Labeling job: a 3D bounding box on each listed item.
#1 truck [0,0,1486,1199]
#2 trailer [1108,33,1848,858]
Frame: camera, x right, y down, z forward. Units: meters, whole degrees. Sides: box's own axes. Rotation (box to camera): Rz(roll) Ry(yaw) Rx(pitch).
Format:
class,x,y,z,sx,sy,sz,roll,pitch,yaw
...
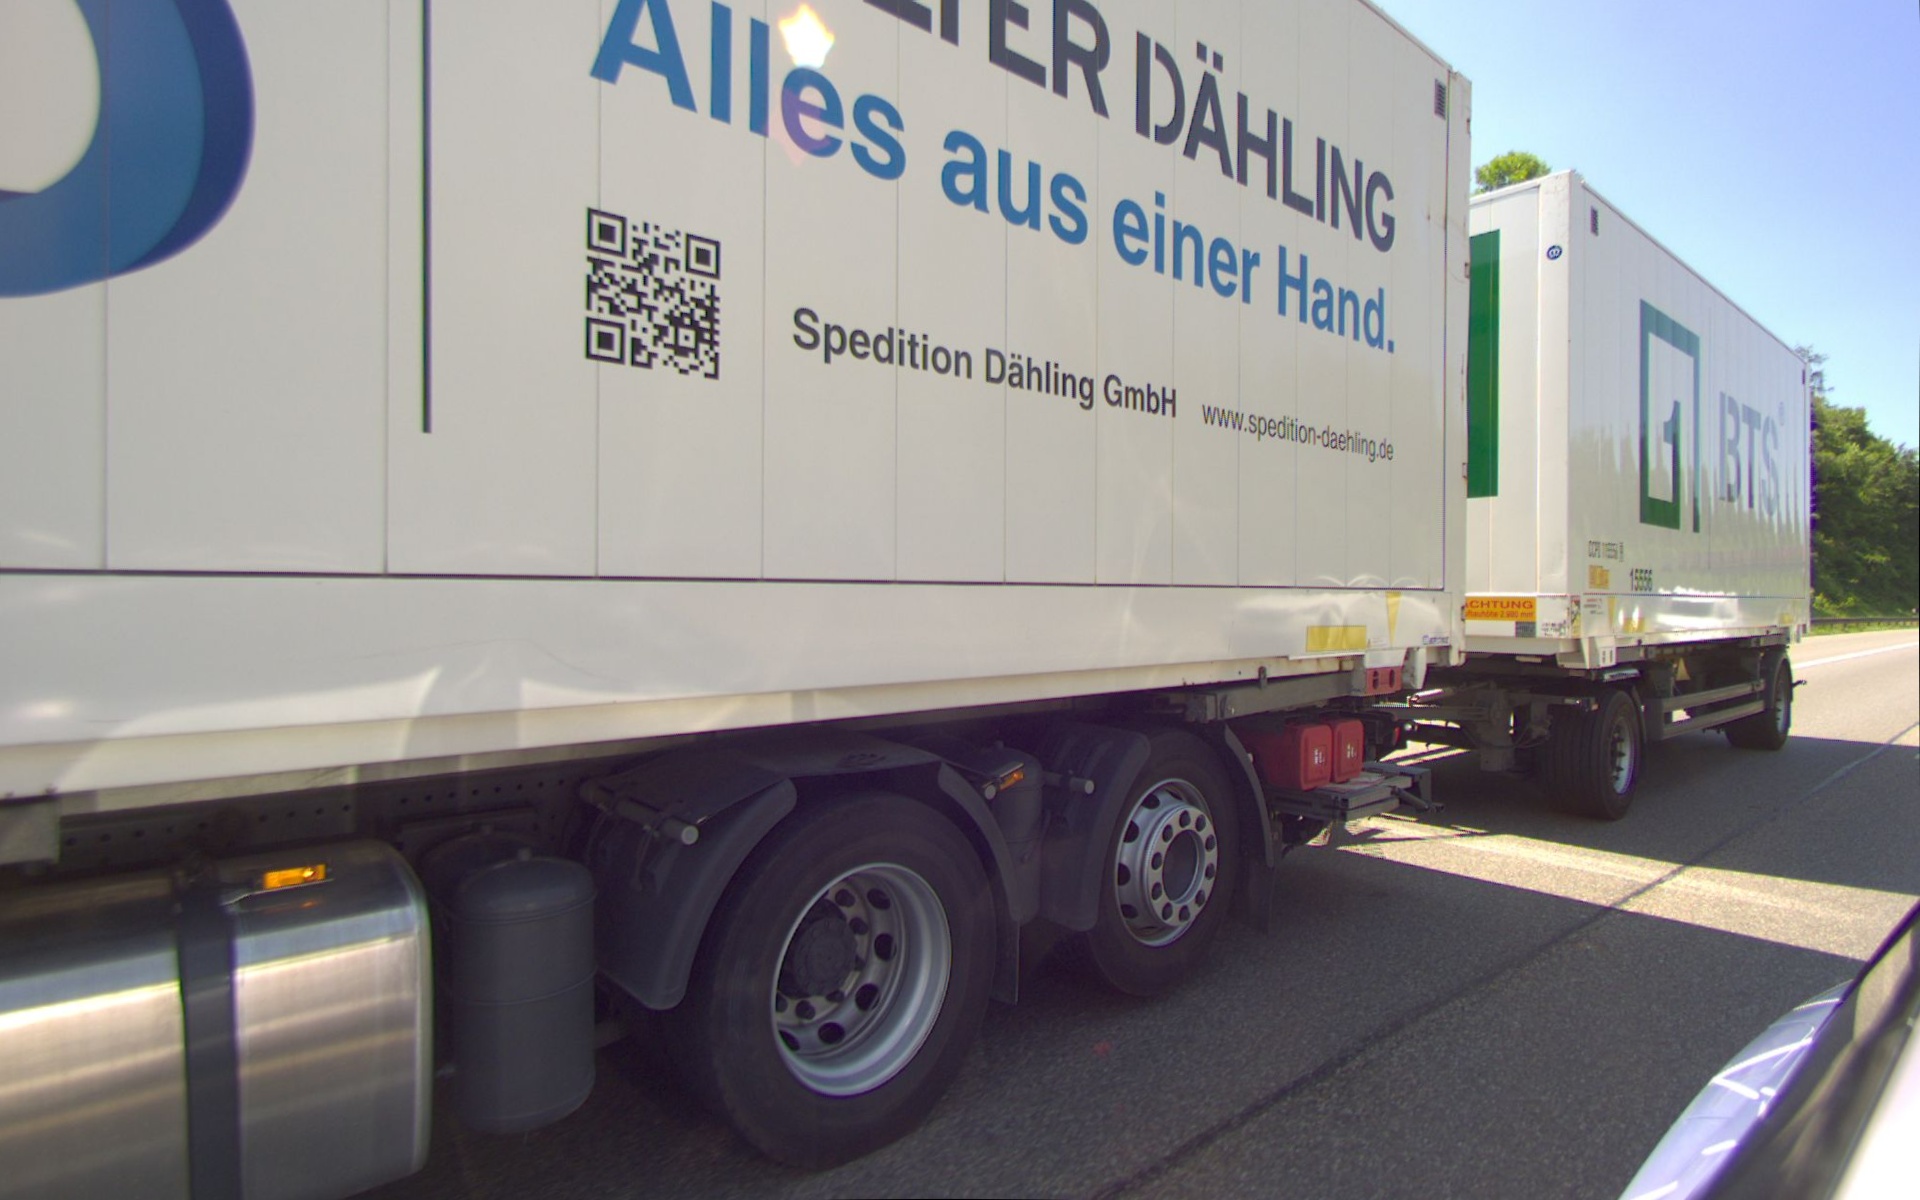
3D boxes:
class,x,y,z,sx,sy,sz,roll,pitch,yaw
truck,-2.243,-0.736,2.539,10.438,4.111,2.684,1,-1,-41
trailer,5.669,-0.735,9.461,9.888,4.229,2.684,1,-1,-41
